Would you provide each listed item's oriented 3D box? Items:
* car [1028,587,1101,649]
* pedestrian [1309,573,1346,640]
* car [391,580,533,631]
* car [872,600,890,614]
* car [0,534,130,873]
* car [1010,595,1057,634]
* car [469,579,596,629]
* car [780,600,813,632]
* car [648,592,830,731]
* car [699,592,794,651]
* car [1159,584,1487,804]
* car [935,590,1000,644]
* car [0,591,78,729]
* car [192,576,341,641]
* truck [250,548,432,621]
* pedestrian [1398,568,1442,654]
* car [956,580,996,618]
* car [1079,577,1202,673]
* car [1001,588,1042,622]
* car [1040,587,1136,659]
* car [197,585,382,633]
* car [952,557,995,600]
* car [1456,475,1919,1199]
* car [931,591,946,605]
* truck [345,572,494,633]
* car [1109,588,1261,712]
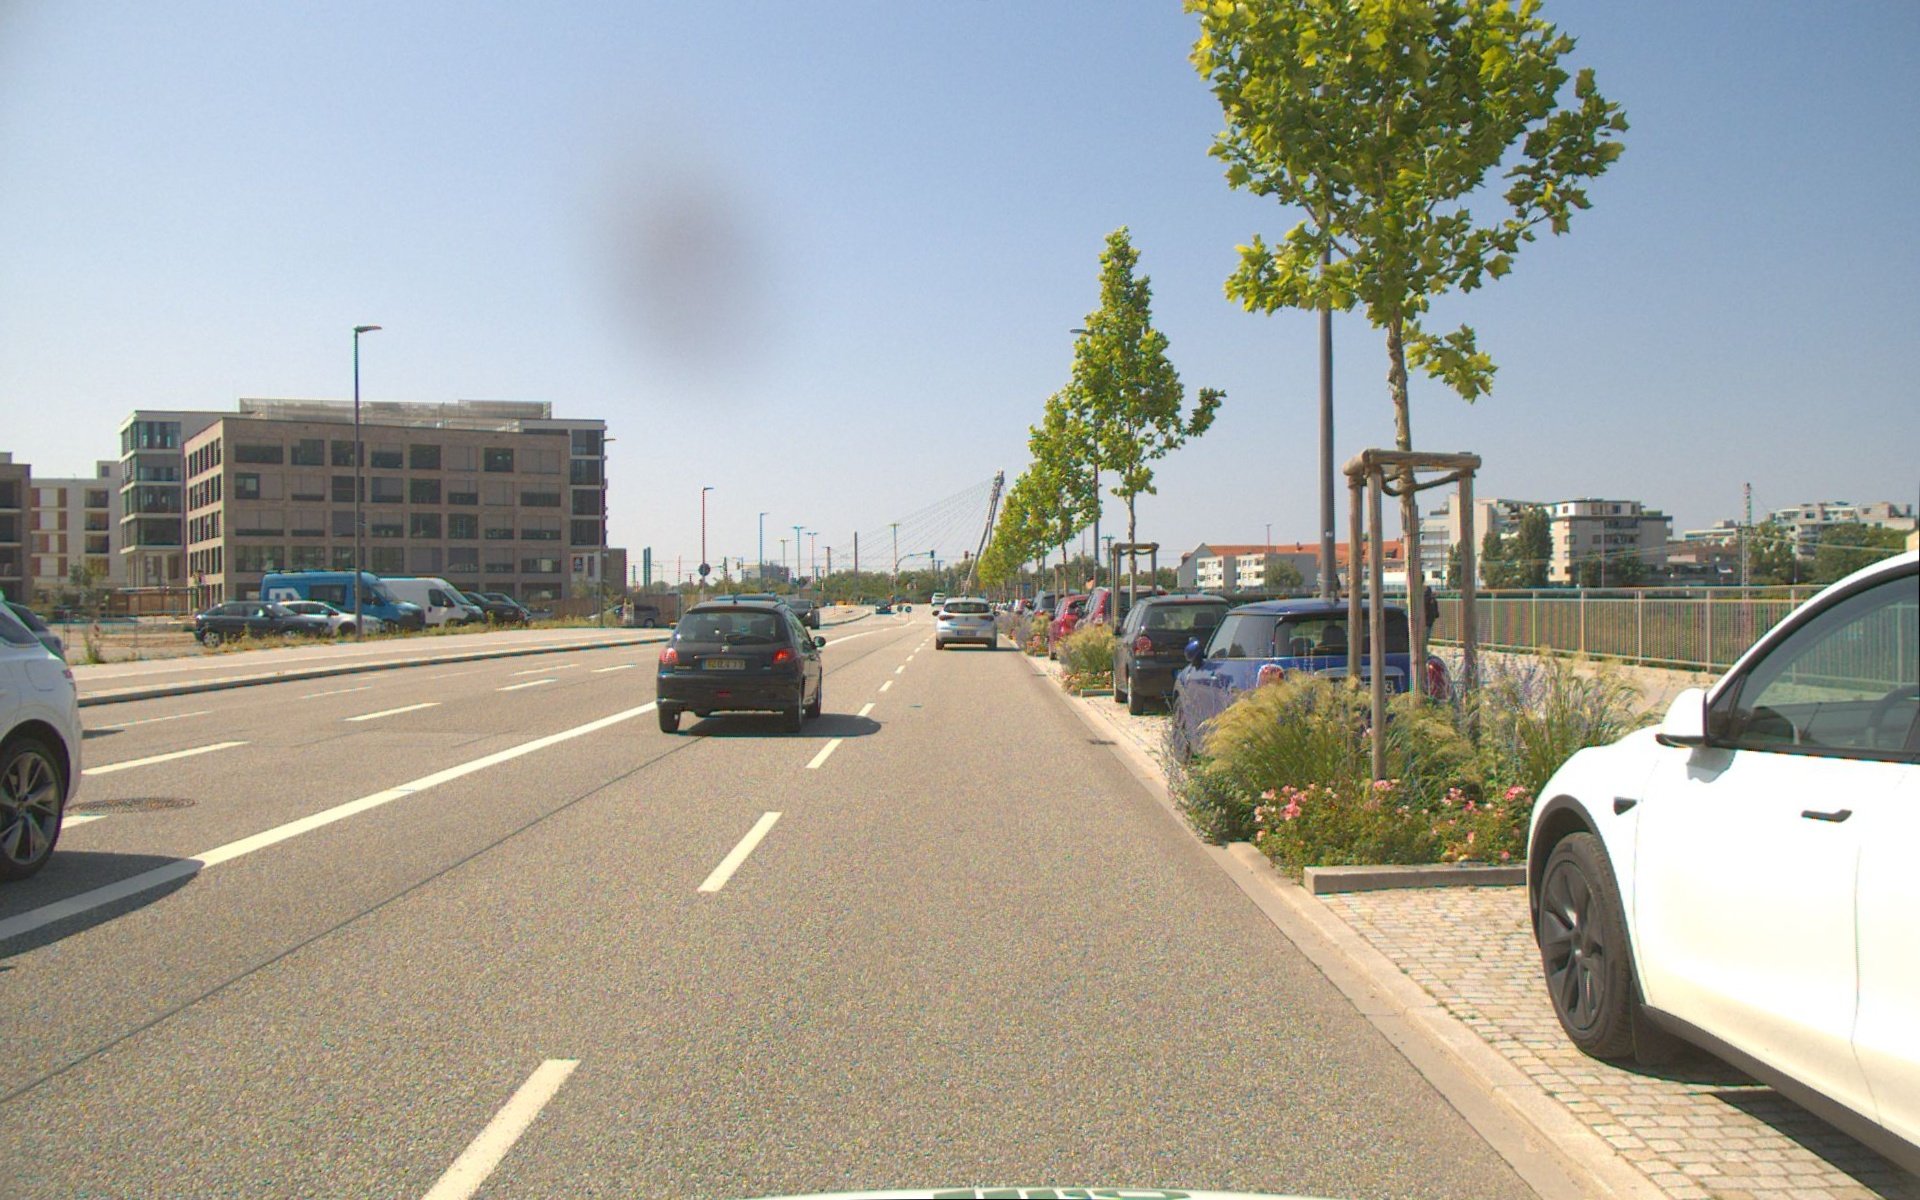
[{"bbox_3d":[2.940,0.496,47.246,1.699,1.636,4.240,-2,0,-1],"label":"car"},{"bbox_3d":[9.689,0.164,43.632,0.764,1.735,0.742,1,0,0],"label":"pedestrian"},{"bbox_3d":[-22.766,0.239,75.761,5.764,2.203,2.394,-1,1,-3],"label":"car"},{"bbox_3d":[-8.516,0.761,178.714,1.669,1.376,4.455,-1,-1,0],"label":"car"},{"bbox_3d":[-5.692,0.502,7.076,1.874,1.678,4.730,0,0,0],"label":"car"},{"bbox_3d":[2.933,0.562,66.688,1.682,1.476,4.000,1,1,0],"label":"car"},{"bbox_3d":[-19.989,0.164,77.548,5.335,2.211,2.393,-1,0,-4],"label":"car"},{"bbox_3d":[-8.438,0.834,85.785,1.548,1.590,3.670,1,-1,-4],"label":"car"},{"bbox_3d":[-2.513,0.664,19.567,1.586,1.441,3.727,1,0,0],"label":"car"},{"bbox_3d":[-5.507,0.546,43.157,1.750,1.422,4.572,1,0,1],"label":"car"},{"bbox_3d":[2.803,0.645,13.717,1.869,1.505,4.158,-1,1,1],"label":"car"},{"bbox_3d":[0.248,0.484,47.960,1.741,1.467,4.001,1,0,2],"label":"car"},{"bbox_3d":[-10.966,0.607,16.987,1.855,1.440,3.597,1,-1,0],"label":"car"},{"bbox_3d":[-21.695,0.257,51.820,3.902,1.937,1.829,-1,0,7],"label":"car"},{"bbox_3d":[-23.095,-0.568,61.903,5.884,2.588,2.274,-1,0,-3],"label":"truck"},{"bbox_3d":[9.430,0.222,33.904,0.717,1.735,0.651,1,-2,0],"label":"pedestrian"},{"bbox_3d":[0.752,-0.009,74.974,1.741,1.596,4.000,1,-1,2],"label":"car"},{"bbox_3d":[3.285,0.408,30.901,1.869,1.645,4.549,-1,1,1],"label":"car"},{"bbox_3d":[2.998,0.252,80.077,1.868,1.605,4.159,-1,0,3],"label":"car"},{"bbox_3d":[2.886,0.499,38.043,1.572,1.518,3.815,-2,0,-5],"label":"car"},{"bbox_3d":[-23.372,0.315,57.836,5.537,1.500,2.106,2,0,-3],"label":"car"},{"bbox_3d":[0.595,-0.962,76.404,1.757,1.781,3.997,1,-2,-3],"label":"car"},{"bbox_3d":[2.879,0.563,3.980,1.834,1.656,4.875,-1,0,-1],"label":"car"},{"bbox_3d":[-2.769,-0.271,211.541,1.817,1.678,4.000,1,0,0],"label":"car"},{"bbox_3d":[-22.559,0.113,69.178,5.454,2.404,2.274,-1,0,-2],"label":"truck"},{"bbox_3d":[2.947,0.606,22.331,1.586,1.505,3.824,-1,1,1],"label":"car"}]
